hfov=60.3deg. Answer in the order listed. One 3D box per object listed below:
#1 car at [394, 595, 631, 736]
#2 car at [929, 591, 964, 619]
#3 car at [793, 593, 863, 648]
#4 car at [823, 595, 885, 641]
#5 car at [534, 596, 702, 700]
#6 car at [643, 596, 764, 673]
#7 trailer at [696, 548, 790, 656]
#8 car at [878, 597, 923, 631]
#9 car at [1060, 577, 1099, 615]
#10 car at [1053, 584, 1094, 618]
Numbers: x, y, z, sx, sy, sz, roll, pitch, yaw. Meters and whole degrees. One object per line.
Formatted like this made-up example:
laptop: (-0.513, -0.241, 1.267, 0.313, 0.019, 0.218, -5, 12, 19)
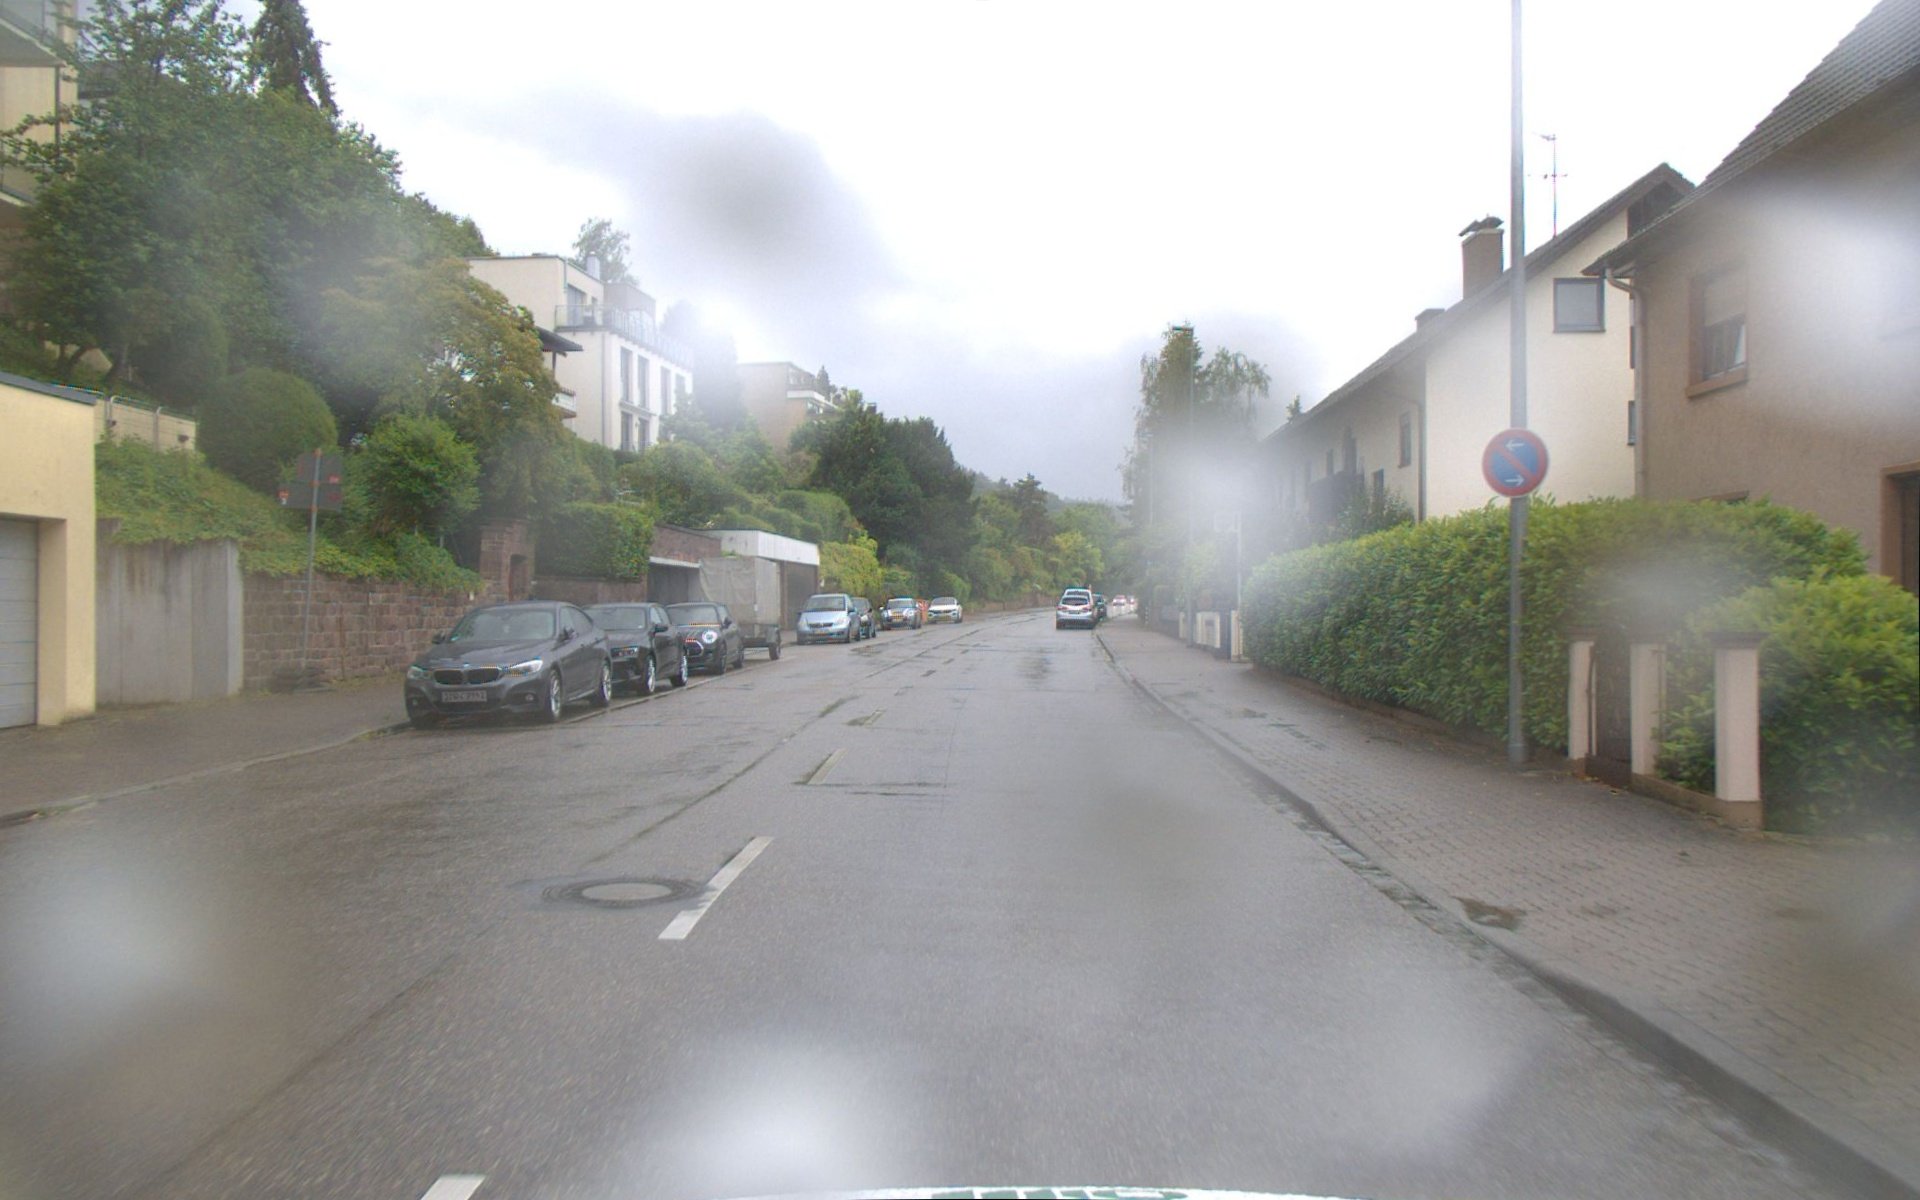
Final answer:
car: (-5.738, 0.767, 21.819, 1.749, 1.480, 4.755, -4, 1, 0)
car: (-0.767, 0.264, 96.382, 1.719, 1.524, 4.222, -2, 0, 4)
car: (-4.294, 0.635, 54.367, 1.719, 1.565, 3.758, -4, 1, 3)
car: (-3.801, 0.628, 59.890, 1.719, 1.433, 3.706, -4, 1, 3)
car: (-5.547, 0.734, 27.362, 1.749, 1.439, 4.218, -3, 1, 1)
car: (-5.237, 0.666, 34.224, 1.771, 1.373, 3.777, -3, 1, 1)
trailer: (-5.219, 0.024, 40.072, 1.504, 2.441, 3.075, -3, 0, 5)
car: (-2.750, 0.625, 77.297, 1.719, 1.427, 3.771, -4, 0, 3)
car: (6.004, -0.209, 82.984, 1.746, 1.821, 4.364, -1, 0, 6)
car: (5.330, 0.037, 77.290, 1.751, 1.485, 4.311, -1, 0, 6)
